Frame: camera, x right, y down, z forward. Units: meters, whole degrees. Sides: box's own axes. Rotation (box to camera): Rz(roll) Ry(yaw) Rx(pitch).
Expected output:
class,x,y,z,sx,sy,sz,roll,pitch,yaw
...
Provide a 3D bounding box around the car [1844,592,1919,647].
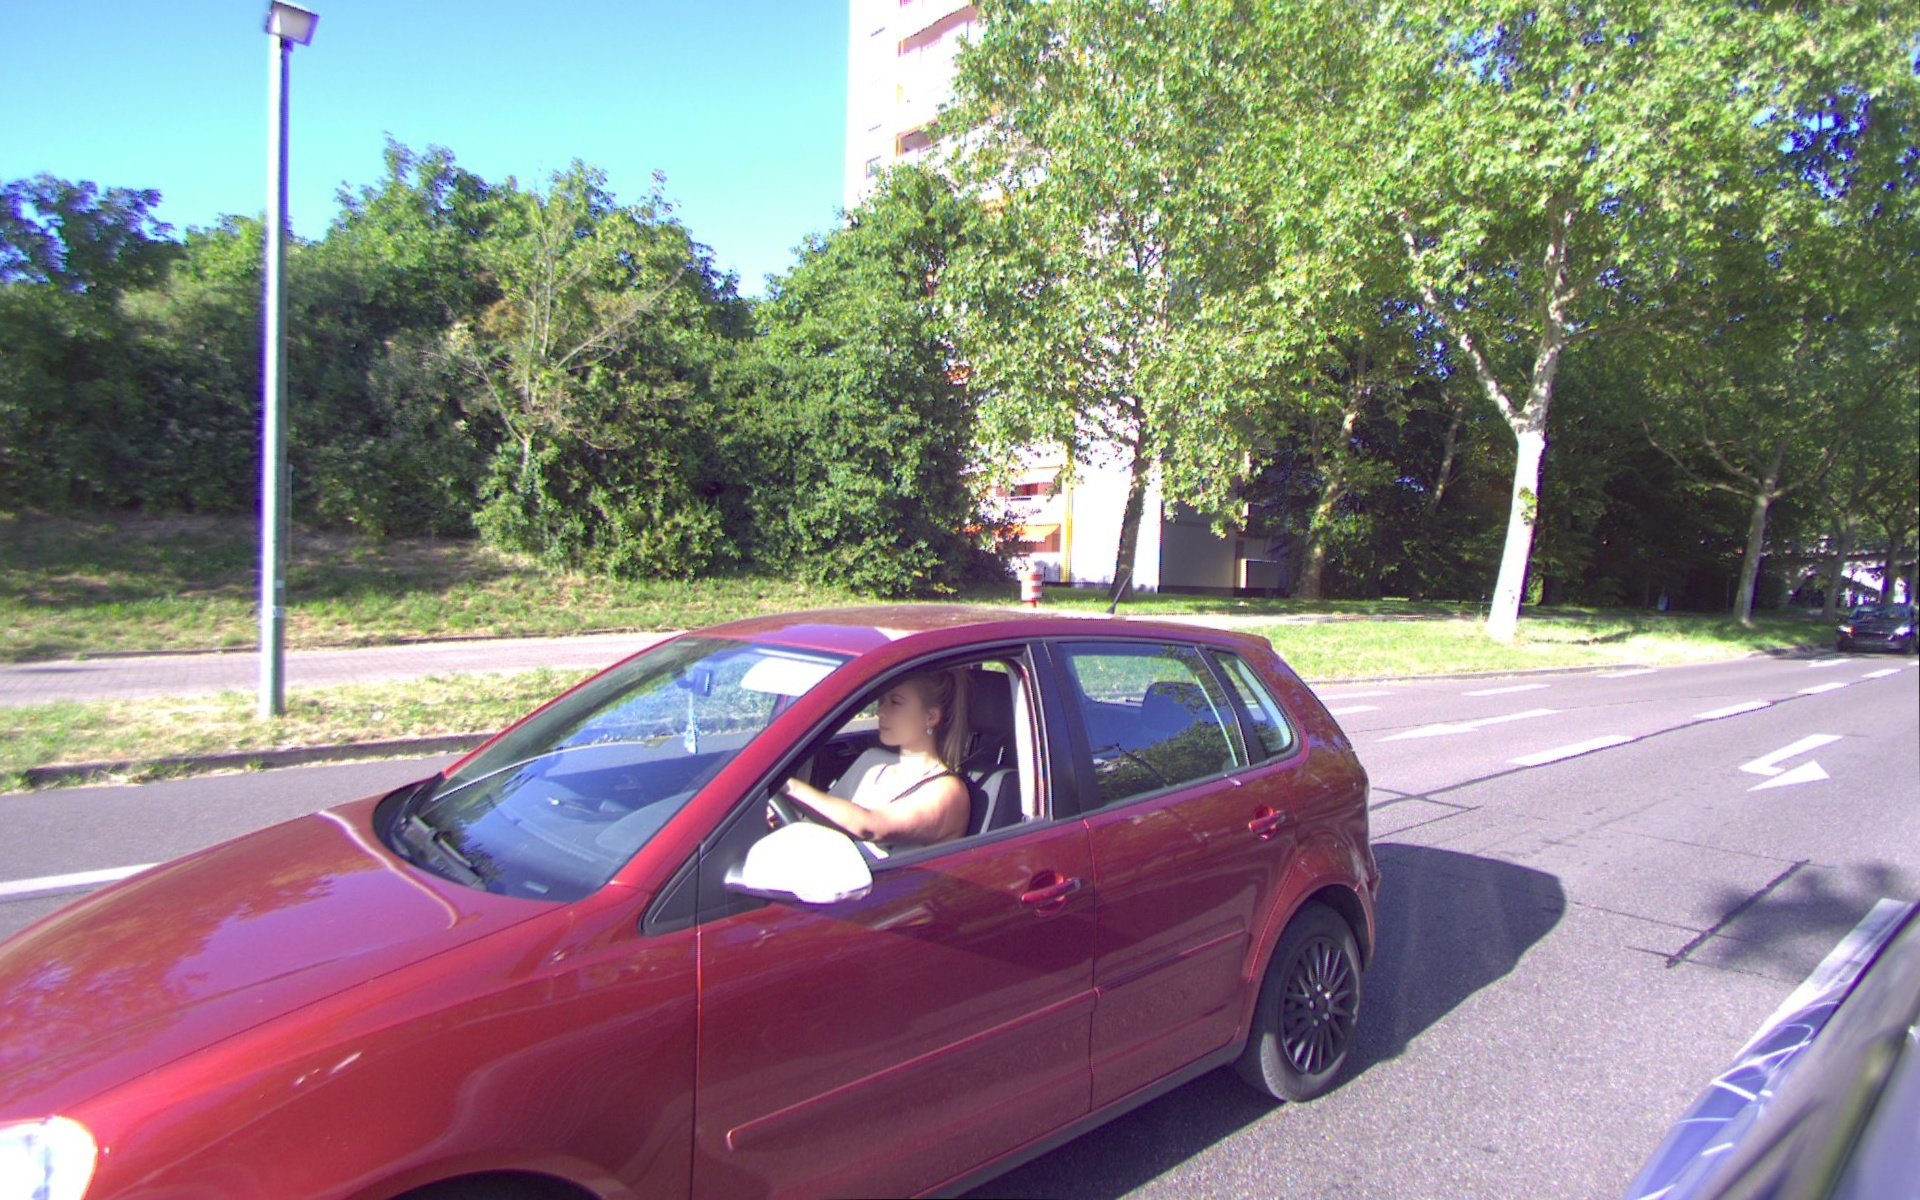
class,x,y,z,sx,sy,sz,roll,pitch,yaw
car,27.352,0.518,29.568,3.824,1.487,1.749,0,1,-40

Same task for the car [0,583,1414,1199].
class,x,y,z,sx,sy,sz,roll,pitch,yaw
car,-0.461,0.694,2.762,3.627,1.434,1.626,0,1,-39
